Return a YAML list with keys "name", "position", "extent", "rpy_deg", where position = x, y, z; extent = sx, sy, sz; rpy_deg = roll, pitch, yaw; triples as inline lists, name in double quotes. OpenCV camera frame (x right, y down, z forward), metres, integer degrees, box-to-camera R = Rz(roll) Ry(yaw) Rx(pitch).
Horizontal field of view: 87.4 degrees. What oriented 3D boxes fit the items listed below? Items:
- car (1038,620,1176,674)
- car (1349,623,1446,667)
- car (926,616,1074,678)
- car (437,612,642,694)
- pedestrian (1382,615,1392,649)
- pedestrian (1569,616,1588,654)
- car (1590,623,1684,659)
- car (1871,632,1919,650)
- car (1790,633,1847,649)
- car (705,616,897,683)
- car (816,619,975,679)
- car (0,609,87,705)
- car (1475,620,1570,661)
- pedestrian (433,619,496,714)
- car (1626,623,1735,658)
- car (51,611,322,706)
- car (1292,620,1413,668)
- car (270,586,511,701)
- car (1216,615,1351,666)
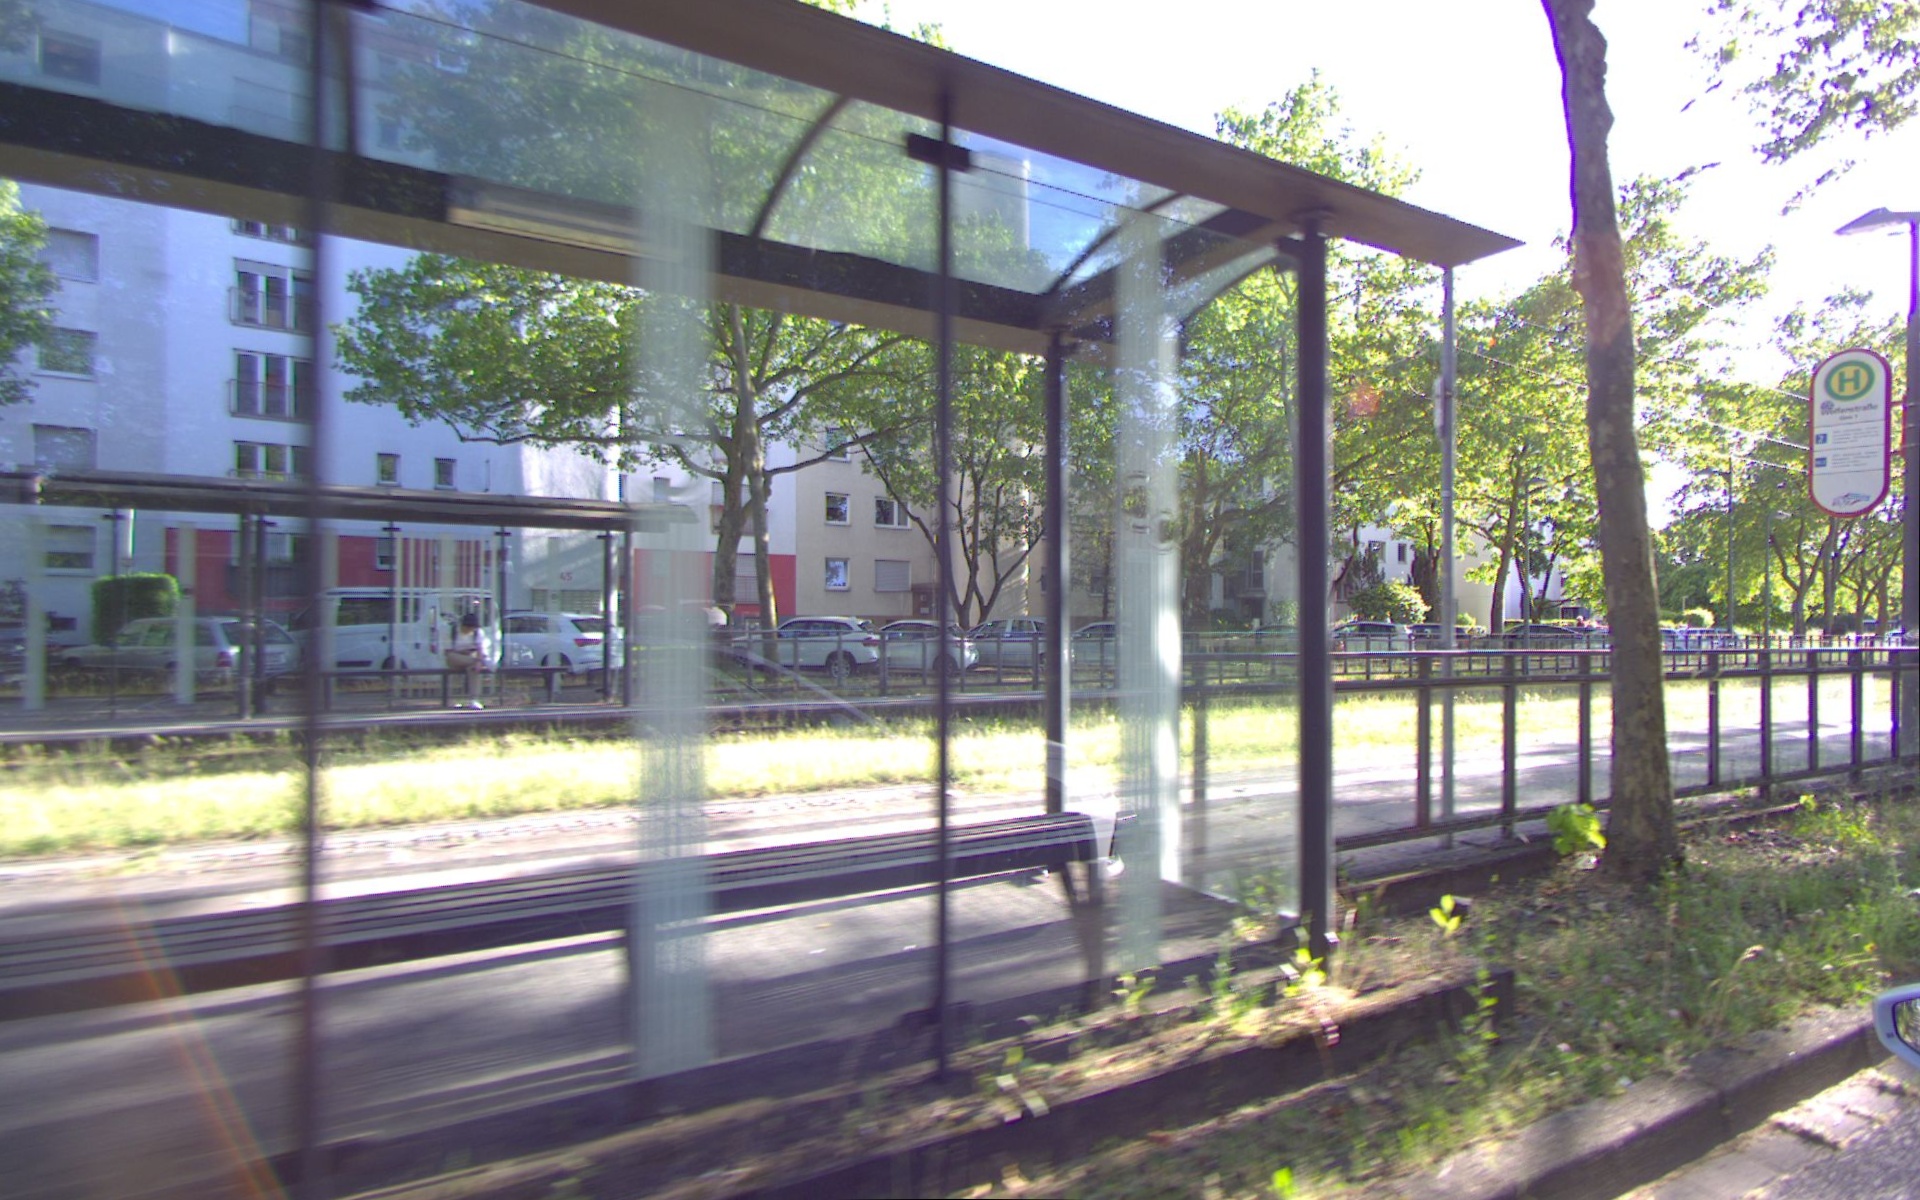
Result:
- name: "car"
  position: [4.414, 1.375, 29.993]
  extent: [3.977, 1.493, 1.577]
  rpy_deg: [0, 0, 11]
- name: "car"
  position: [16.603, 1.664, 38.137]
  extent: [3.321, 1.529, 1.463]
  rpy_deg: [1, 0, 27]
- name: "car"
  position: [1.167, 1.287, 28.502]
  extent: [3.977, 1.590, 1.576]
  rpy_deg: [0, 1, 11]
- name: "car"
  position: [-9.212, 1.114, 22.086]
  extent: [3.978, 1.632, 1.690]
  rpy_deg: [0, 0, 16]
- name: "pedestrian"
  position: [23.423, 1.747, 55.097]
  extent: [0.446, 1.816, 0.315]
  rpy_deg: [1, 0, -37]
- name: "pedestrian"
  position: [30.422, 1.714, 49.401]
  extent: [0.709, 1.816, 0.473]
  rpy_deg: [1, 0, -31]
- name: "car"
  position: [30.916, 1.854, 45.931]
  extent: [3.221, 1.450, 1.571]
  rpy_deg: [1, 0, 18]
- name: "car"
  position: [87.551, 3.788, 93.055]
  extent: [1.866, 1.632, 4.492]
  rpy_deg: [0, -2, -11]
- name: "car"
  position: [85.881, 4.075, 100.553]
  extent: [1.783, 1.455, 4.040]
  rpy_deg: [-2, -1, -11]
- name: "car"
  position: [-3.992, 1.209, 25.488]
  extent: [4.408, 1.524, 1.901]
  rpy_deg: [0, 0, 11]
- name: "car"
  position: [-1.701, 1.282, 27.041]
  extent: [3.977, 1.452, 1.577]
  rpy_deg: [0, 0, 11]
- name: "car"
  position: [-17.854, 0.938, 17.581]
  extent: [4.410, 1.518, 1.900]
  rpy_deg: [1, 1, 18]
- name: "car"
  position: [22.835, 1.635, 40.893]
  extent: [3.075, 1.568, 1.466]
  rpy_deg: [0, 0, 13]
- name: "pedestrian"
  position: [-6.168, 0.829, 12.506]
  extent: [0.654, 1.141, 0.692]
  rpy_deg: [1, -4, -29]
- name: "car"
  position: [34.234, 1.915, 47.839]
  extent: [3.842, 1.496, 1.632]
  rpy_deg: [1, 0, 17]
- name: "car"
  position: [-14.540, 1.031, 18.920]
  extent: [4.410, 1.518, 1.900]
  rpy_deg: [1, 1, 18]
- name: "car"
  position: [13.923, 1.540, 35.836]
  extent: [3.914, 1.565, 1.646]
  rpy_deg: [0, 0, 19]
- name: "car"
  position: [-11.539, 0.786, 20.362]
  extent: [4.412, 2.091, 1.899]
  rpy_deg: [1, 1, 21]
- name: "car"
  position: [10.674, 1.306, 33.388]
  extent: [4.090, 1.565, 1.647]
  rpy_deg: [0, 0, 11]
